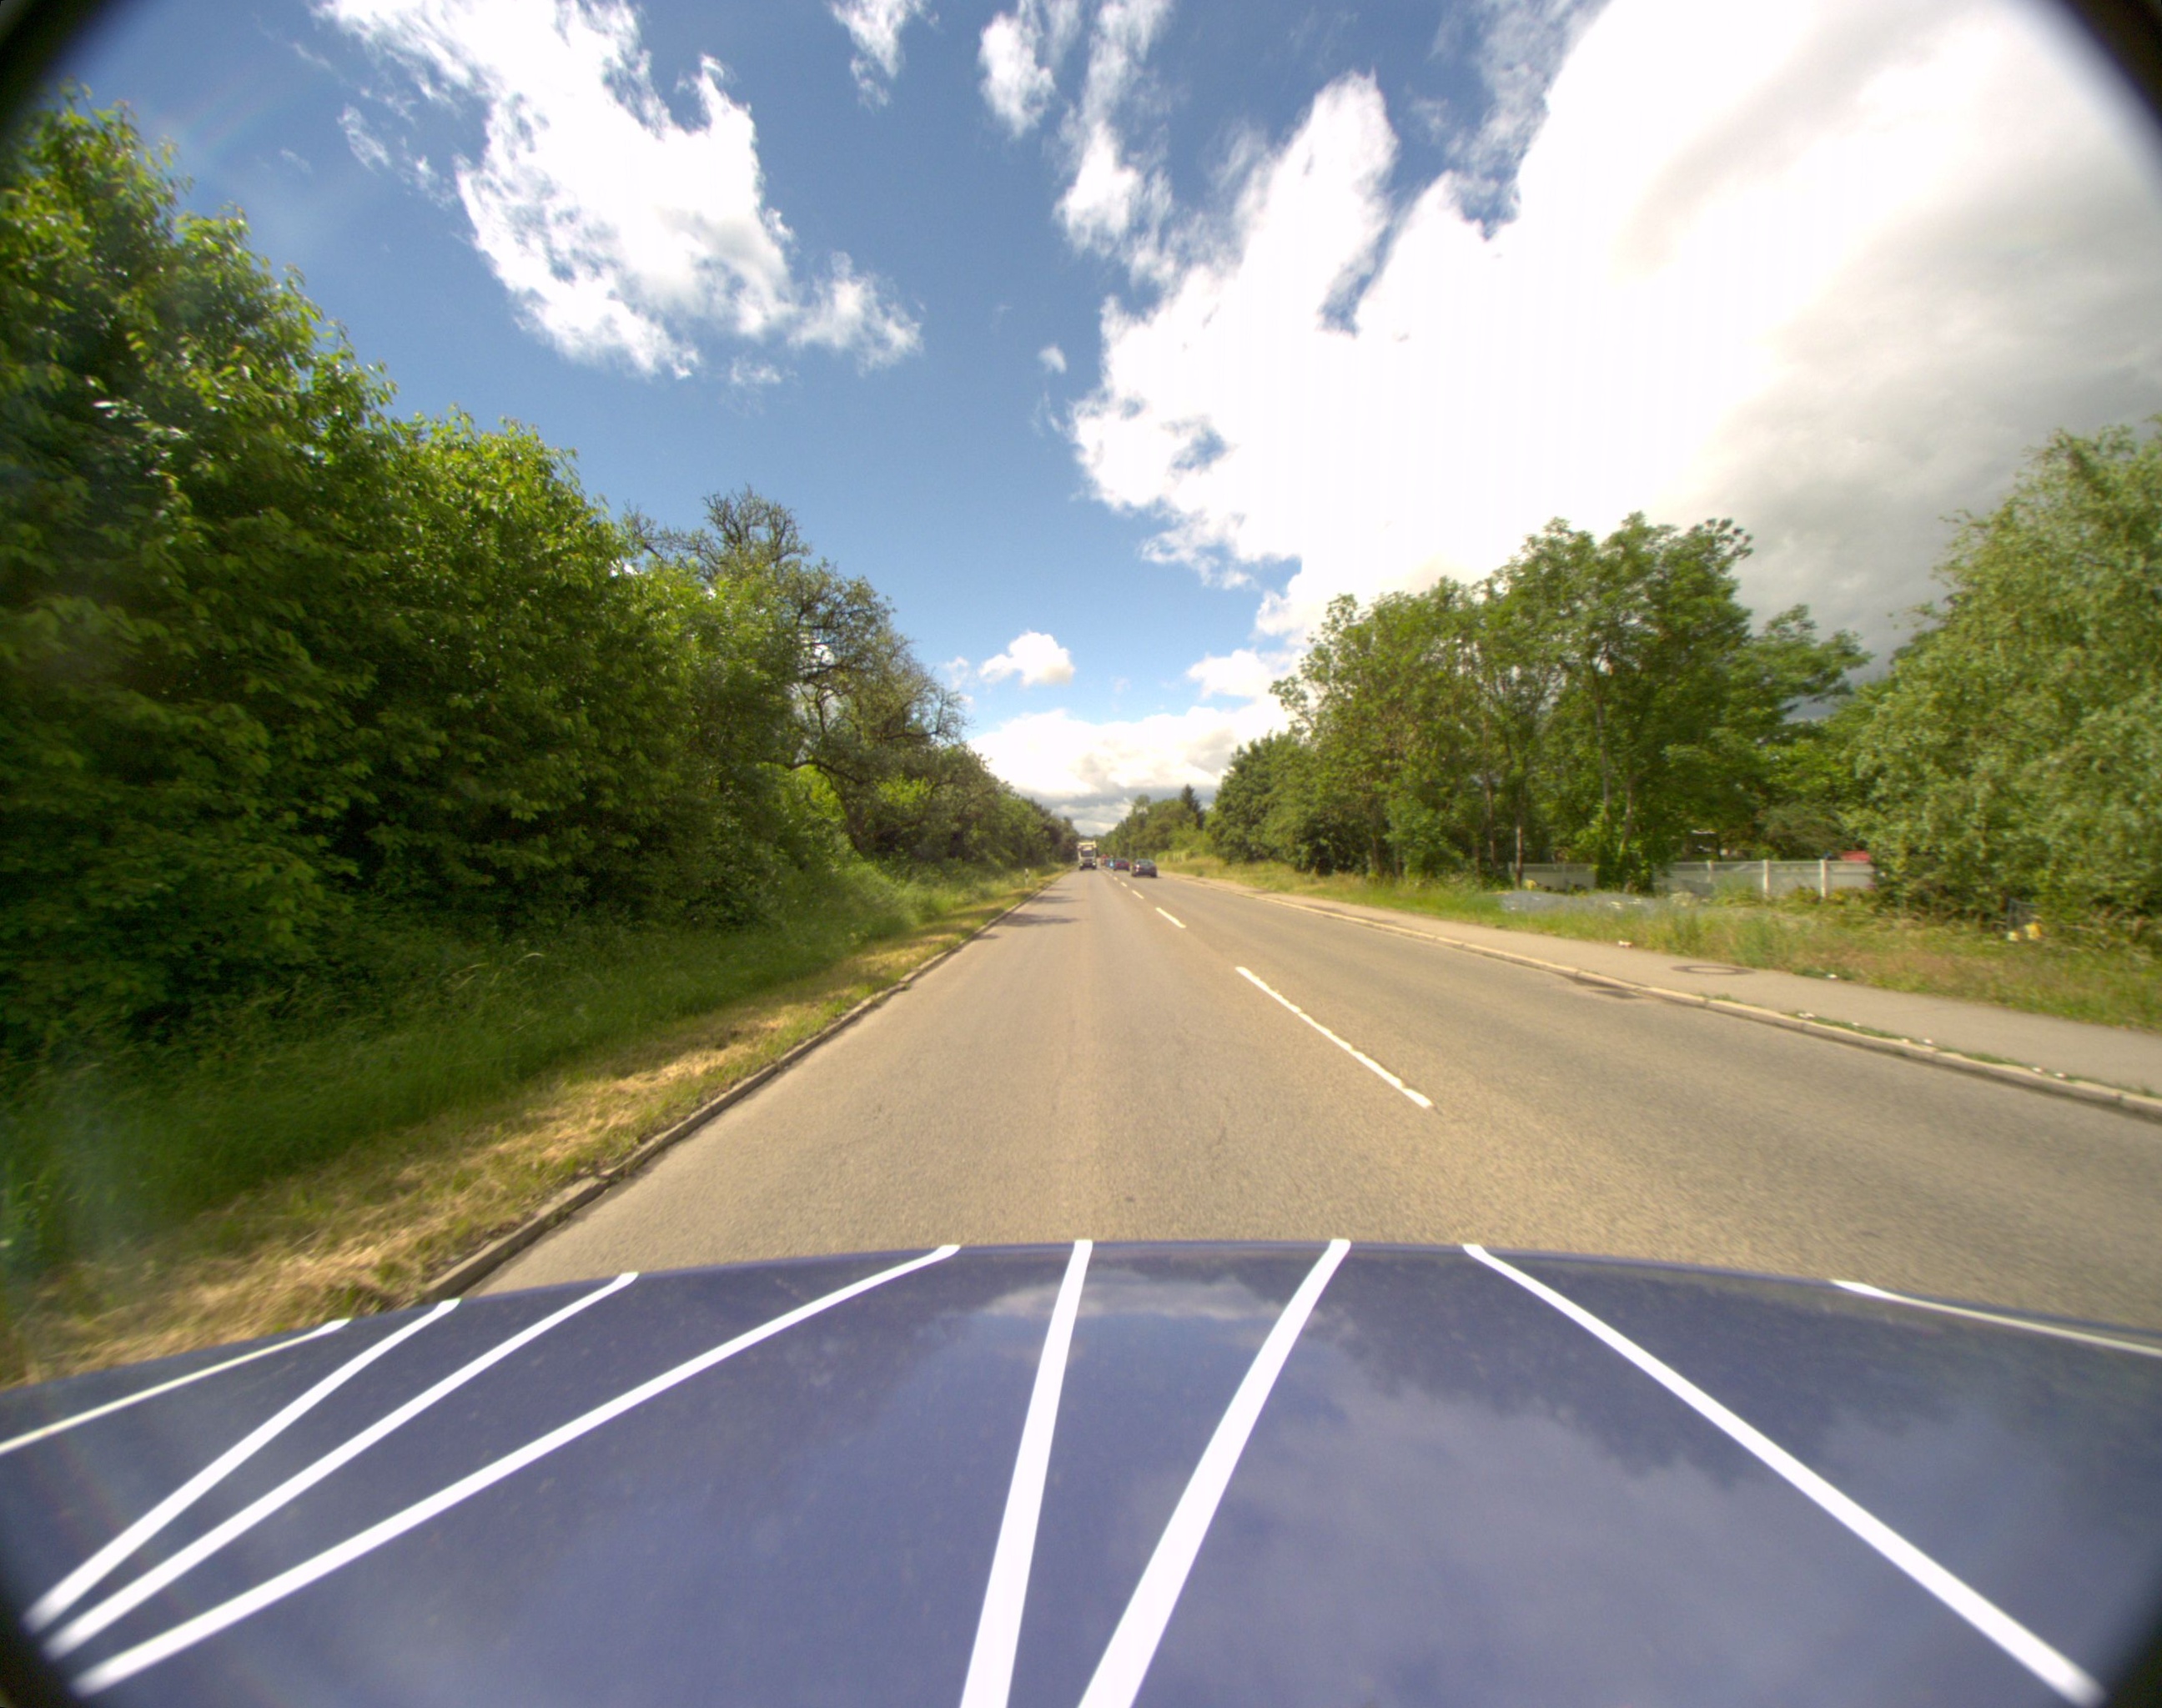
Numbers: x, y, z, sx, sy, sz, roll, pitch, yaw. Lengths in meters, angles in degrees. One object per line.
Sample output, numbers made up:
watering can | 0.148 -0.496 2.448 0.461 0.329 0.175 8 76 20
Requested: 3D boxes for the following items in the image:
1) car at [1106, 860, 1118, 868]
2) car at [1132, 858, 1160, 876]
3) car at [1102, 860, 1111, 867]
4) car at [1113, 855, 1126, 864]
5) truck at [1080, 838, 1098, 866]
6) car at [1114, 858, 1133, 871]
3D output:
car | 5.500 1.737 136.029 1.789 1.438 4.452 1 0 -1
car | 5.193 1.009 60.858 1.789 1.326 4.622 1 0 -1
car | 5.729 2.102 171.495 1.720 1.462 4.000 1 0 0
car | 5.918 0.847 117.995 1.789 1.438 2.966 1 0 -1
truck | 1.152 -0.270 108.047 2.306 3.789 8.183 -3 0 0
car | 5.069 1.292 91.272 1.889 1.483 4.717 1 0 -1
